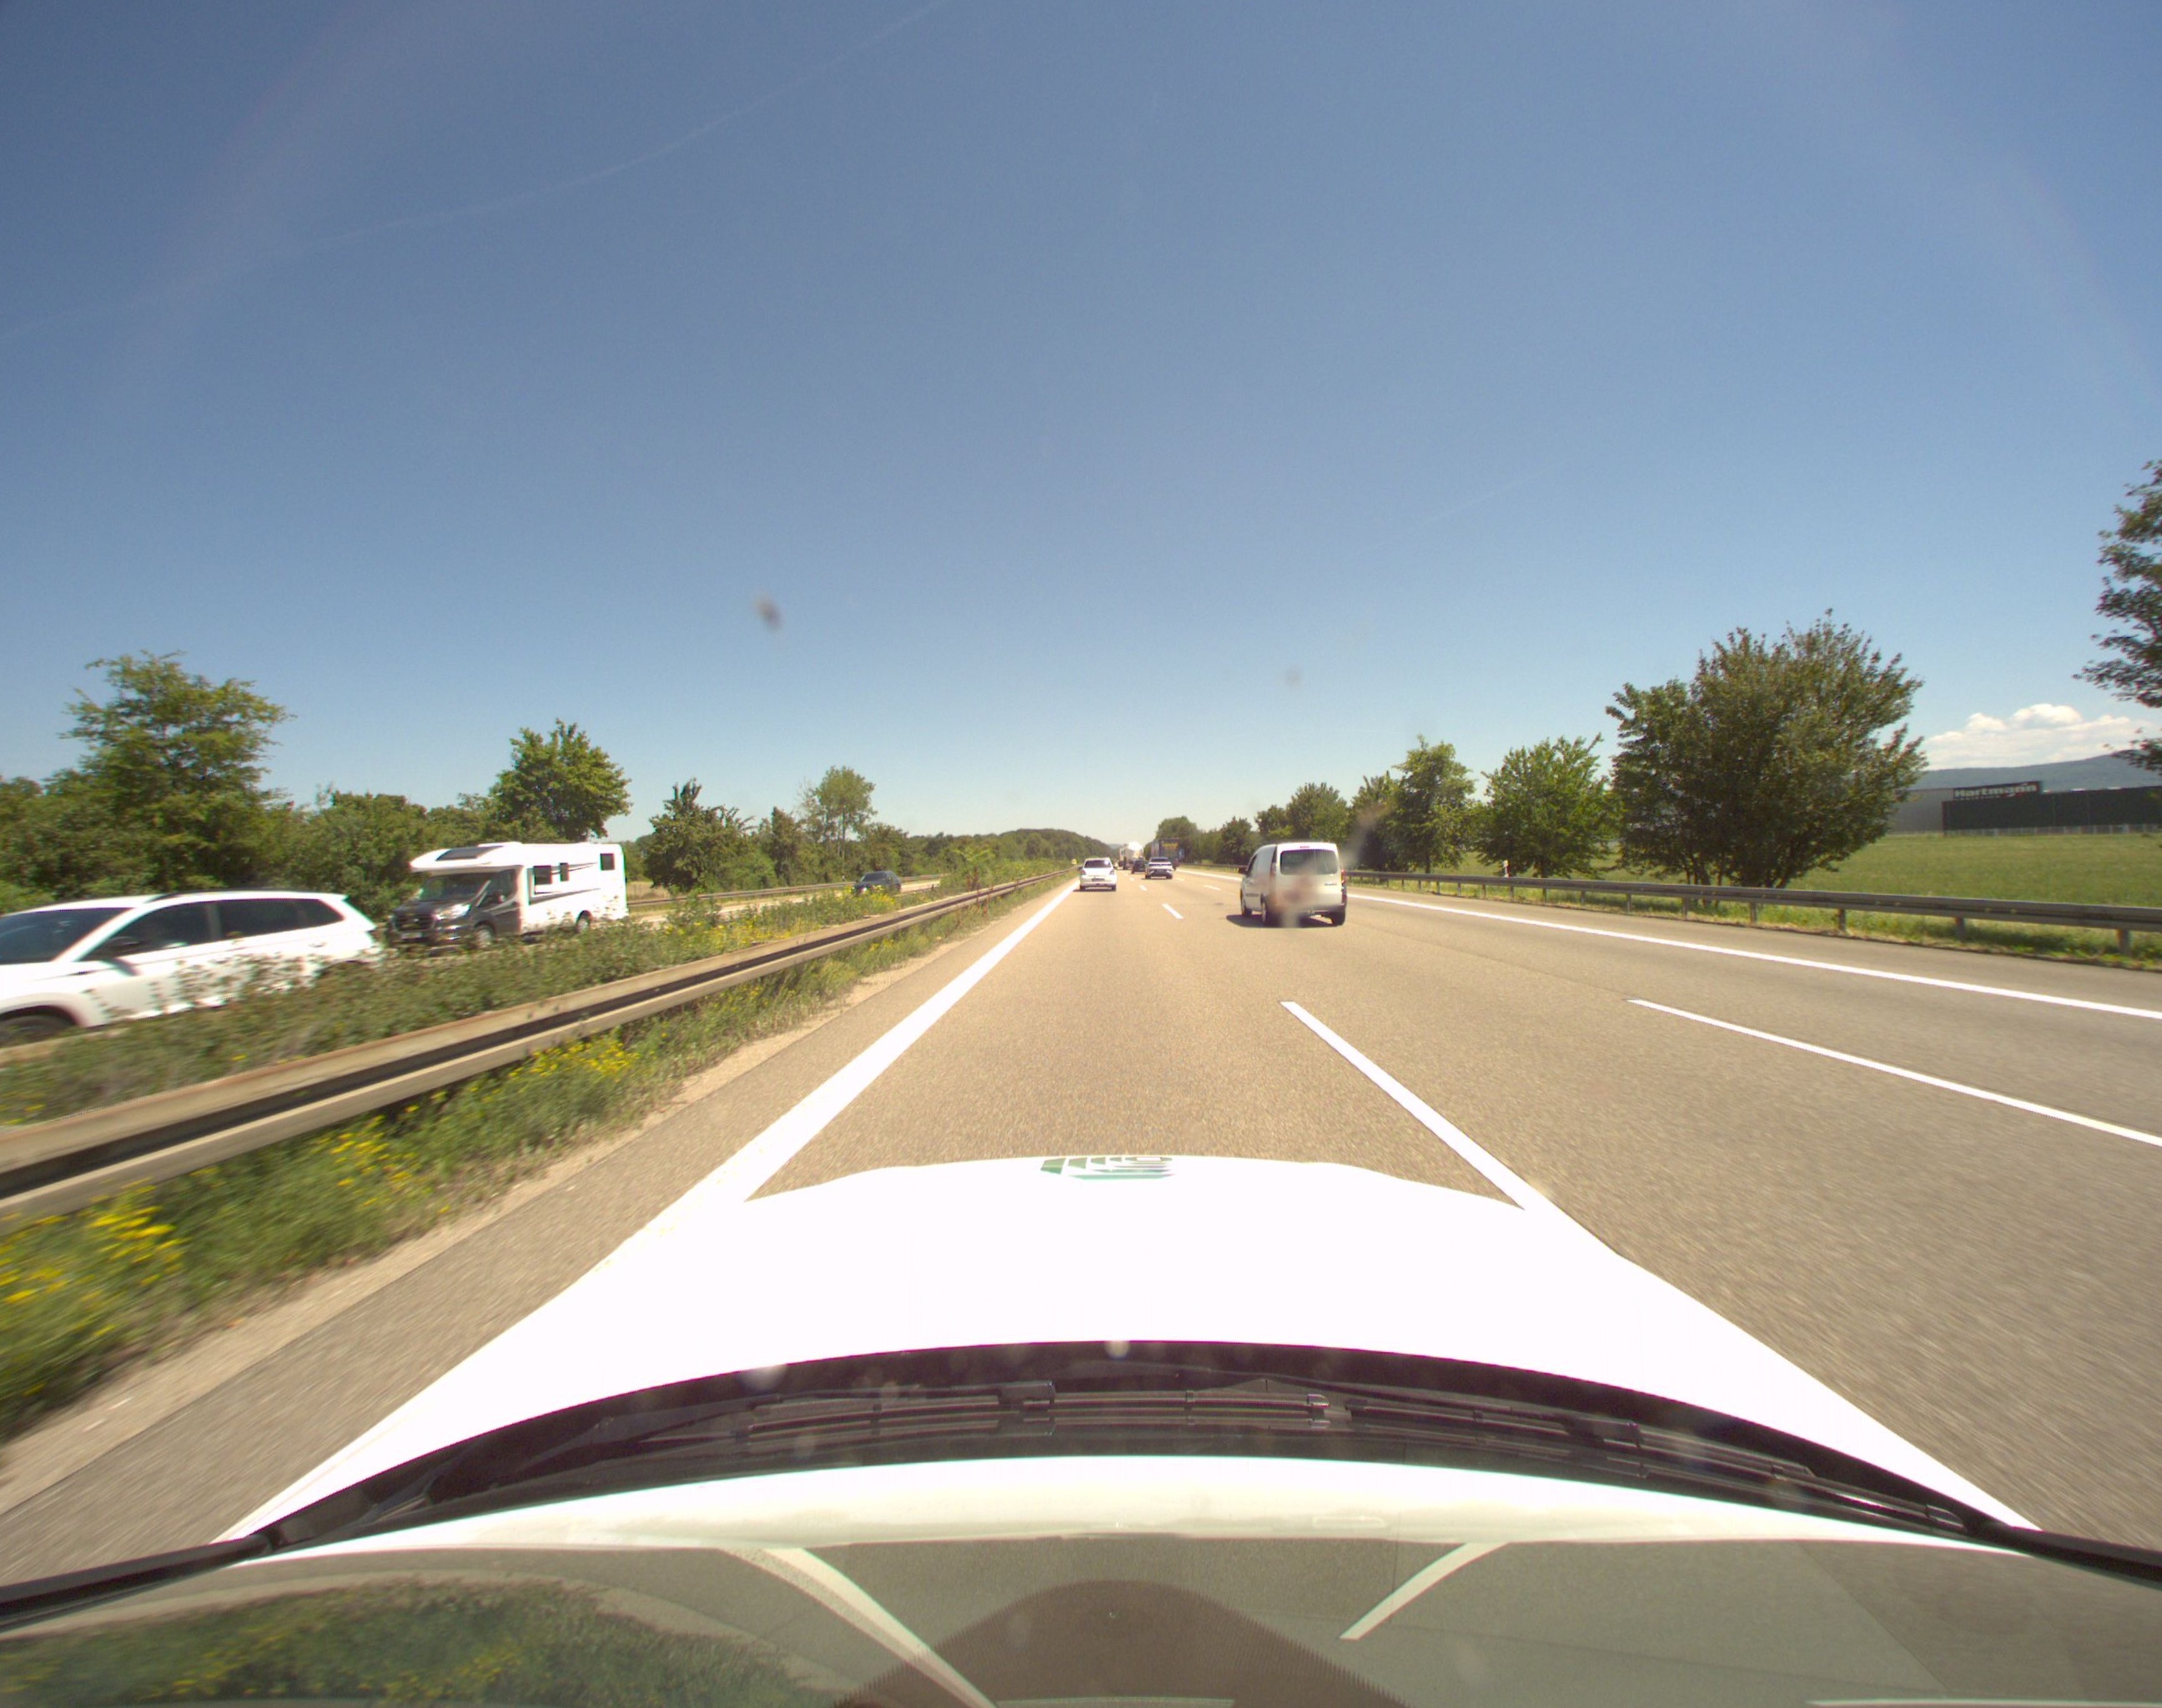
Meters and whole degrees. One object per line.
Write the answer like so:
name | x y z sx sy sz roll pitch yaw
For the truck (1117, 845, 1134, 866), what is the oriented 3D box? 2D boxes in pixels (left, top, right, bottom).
truck | 9.097 0.345 167.337 3.381 4.214 12.091 0 0 3

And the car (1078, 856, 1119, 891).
car | 0.828 0.894 38.330 1.793 1.552 3.611 0 0 1

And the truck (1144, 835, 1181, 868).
truck | 10.630 -0.243 108.118 3.100 4.139 15.501 0 0 -1

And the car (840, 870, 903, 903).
car | -11.172 1.695 43.755 1.950 1.468 4.753 -3 0 1

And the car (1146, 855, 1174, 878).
car | 5.761 0.902 59.962 1.795 1.603 4.382 0 0 2

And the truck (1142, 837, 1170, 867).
truck | 10.475 -0.224 114.649 3.100 4.139 8.051 0 0 -1

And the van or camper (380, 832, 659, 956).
van or camper | -16.118 1.039 24.285 2.839 2.969 7.449 -4 -1 2

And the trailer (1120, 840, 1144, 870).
trailer | 7.203 0.225 116.506 2.900 4.069 12.422 0 0 2

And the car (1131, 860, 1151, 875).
car | 6.012 1.335 81.534 1.843 1.523 3.959 0 0 2

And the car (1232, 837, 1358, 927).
car | 4.882 0.599 19.273 1.846 1.863 4.703 0 0 1

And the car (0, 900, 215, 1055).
car | -12.671 1.444 9.180 1.814 1.552 3.859 -3 0 -5

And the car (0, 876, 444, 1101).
car | -9.015 1.163 7.968 1.728 1.615 4.592 -7 -1 1
